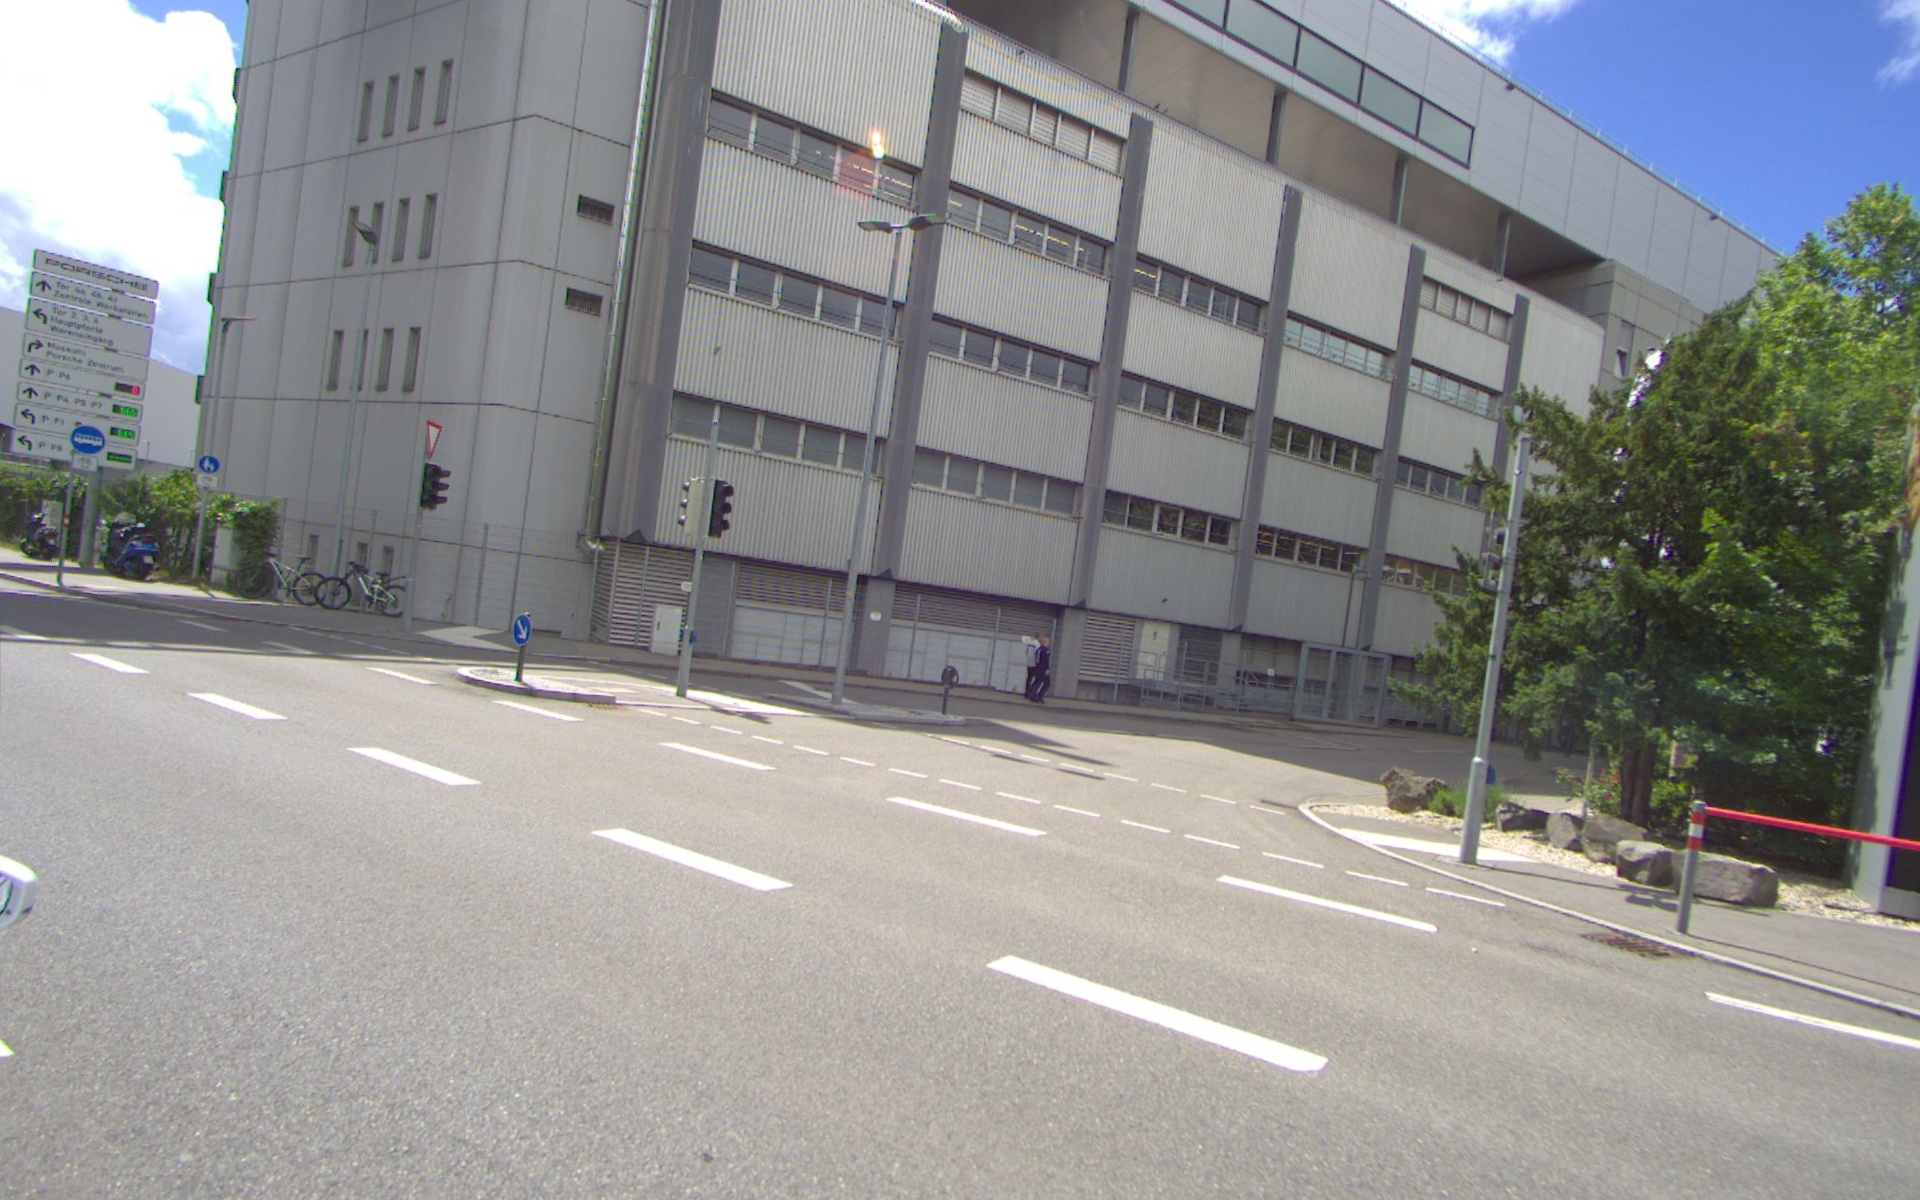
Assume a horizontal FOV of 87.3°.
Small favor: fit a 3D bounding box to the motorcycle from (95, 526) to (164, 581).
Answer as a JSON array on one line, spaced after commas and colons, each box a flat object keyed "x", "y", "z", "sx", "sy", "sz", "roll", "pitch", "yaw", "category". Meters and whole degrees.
[{"x": -19.586, "y": -1.097, "z": 23.708, "sx": 2.003, "sy": 1.081, "sz": 0.591, "roll": 7, "pitch": 2, "yaw": 31, "category": "motorcycle"}]

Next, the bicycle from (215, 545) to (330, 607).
[{"x": -15.126, "y": -0.526, "z": 22.179, "sx": 1.944, "sy": 1.142, "sz": 0.542, "roll": 6, "pitch": 2, "yaw": -24, "category": "bicycle"}]

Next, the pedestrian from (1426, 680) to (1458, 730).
[{"x": 19.687, "y": 4.300, "z": 41.092, "sx": 0.739, "sy": 1.911, "sz": 0.748, "roll": 8, "pitch": -1, "yaw": -36, "category": "pedestrian"}]

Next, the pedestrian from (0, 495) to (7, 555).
[{"x": -27.419, "y": -2.173, "z": 28.105, "sx": 0.981, "sy": 1.666, "sz": 0.810, "roll": 7, "pitch": 1, "yaw": 30, "category": "pedestrian"}]

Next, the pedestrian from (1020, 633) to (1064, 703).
[{"x": 2.166, "y": 1.792, "z": 26.521, "sx": 0.737, "sy": 1.743, "sz": 0.613, "roll": 8, "pitch": -1, "yaw": -31, "category": "pedestrian"}]

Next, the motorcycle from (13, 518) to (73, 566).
[{"x": -24.437, "y": -1.556, "z": 26.808, "sx": 2.003, "sy": 1.081, "sz": 0.591, "roll": 7, "pitch": 1, "yaw": 31, "category": "motorcycle"}]

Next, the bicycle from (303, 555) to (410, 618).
[{"x": -13.275, "y": -0.286, "z": 22.186, "sx": 1.863, "sy": 1.142, "sz": 0.542, "roll": 7, "pitch": 1, "yaw": -25, "category": "bicycle"}]

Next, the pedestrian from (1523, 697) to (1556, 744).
[{"x": 22.763, "y": 4.725, "z": 39.515, "sx": 0.739, "sy": 1.712, "sz": 0.748, "roll": 8, "pitch": -1, "yaw": -36, "category": "pedestrian"}]

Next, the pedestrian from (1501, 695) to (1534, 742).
[{"x": 22.319, "y": 4.742, "z": 40.269, "sx": 0.739, "sy": 1.712, "sz": 0.748, "roll": 8, "pitch": -1, "yaw": -36, "category": "pedestrian"}]

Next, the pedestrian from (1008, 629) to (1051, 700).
[{"x": 1.870, "y": 1.740, "z": 27.067, "sx": 0.737, "sy": 1.800, "sz": 0.632, "roll": 8, "pitch": -1, "yaw": -30, "category": "pedestrian"}]
